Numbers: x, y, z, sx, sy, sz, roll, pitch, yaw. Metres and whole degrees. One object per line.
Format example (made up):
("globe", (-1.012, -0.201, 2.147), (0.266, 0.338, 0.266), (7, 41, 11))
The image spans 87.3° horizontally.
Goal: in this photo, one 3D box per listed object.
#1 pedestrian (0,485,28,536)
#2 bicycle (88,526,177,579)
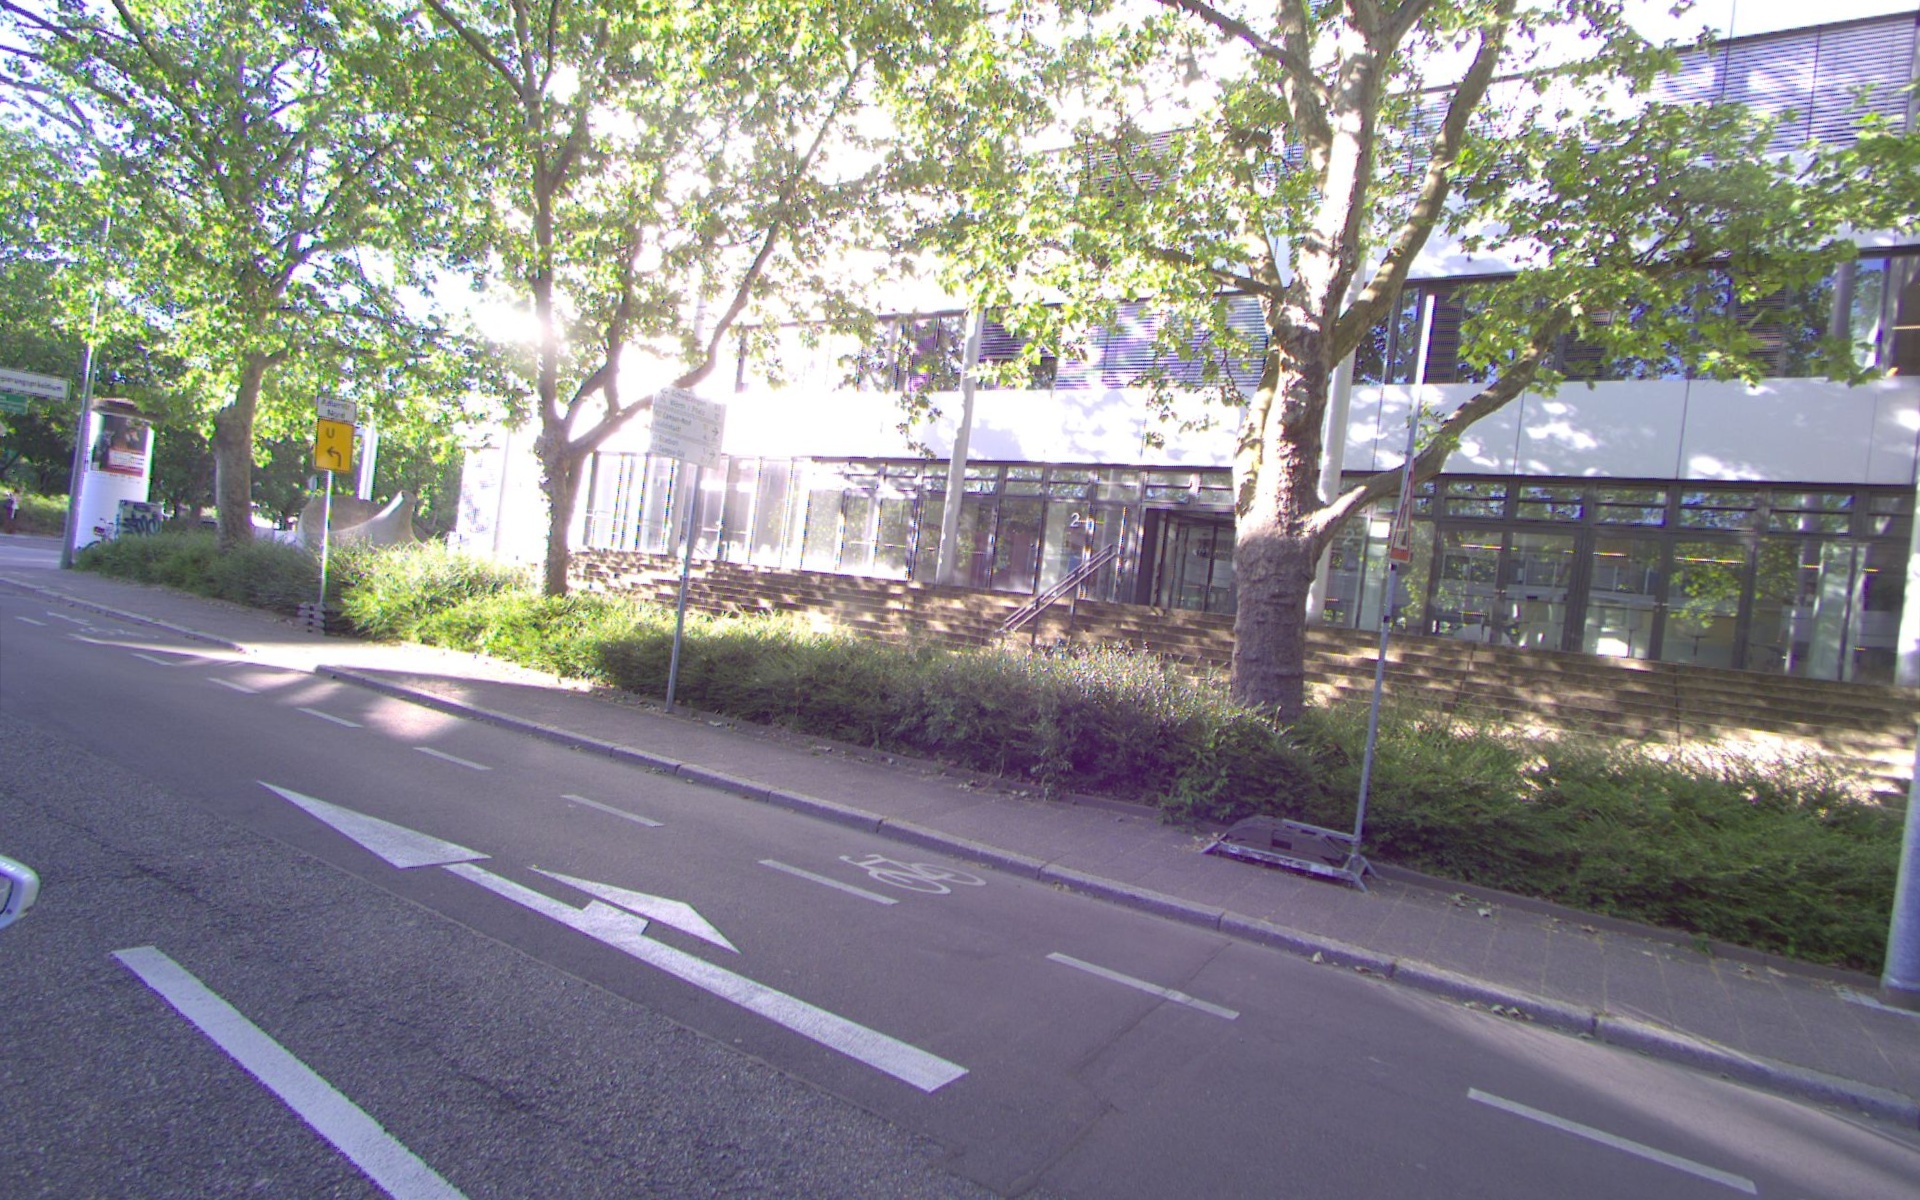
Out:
("pedestrian", (-36.232, -3.406, 38.405), (0.672, 1.793, 0.613), (8, -1, -29))
("bicycle", (-19.044, -1.072, 23.182), (0.295, 0.991, 1.484), (6, -2, 37))
